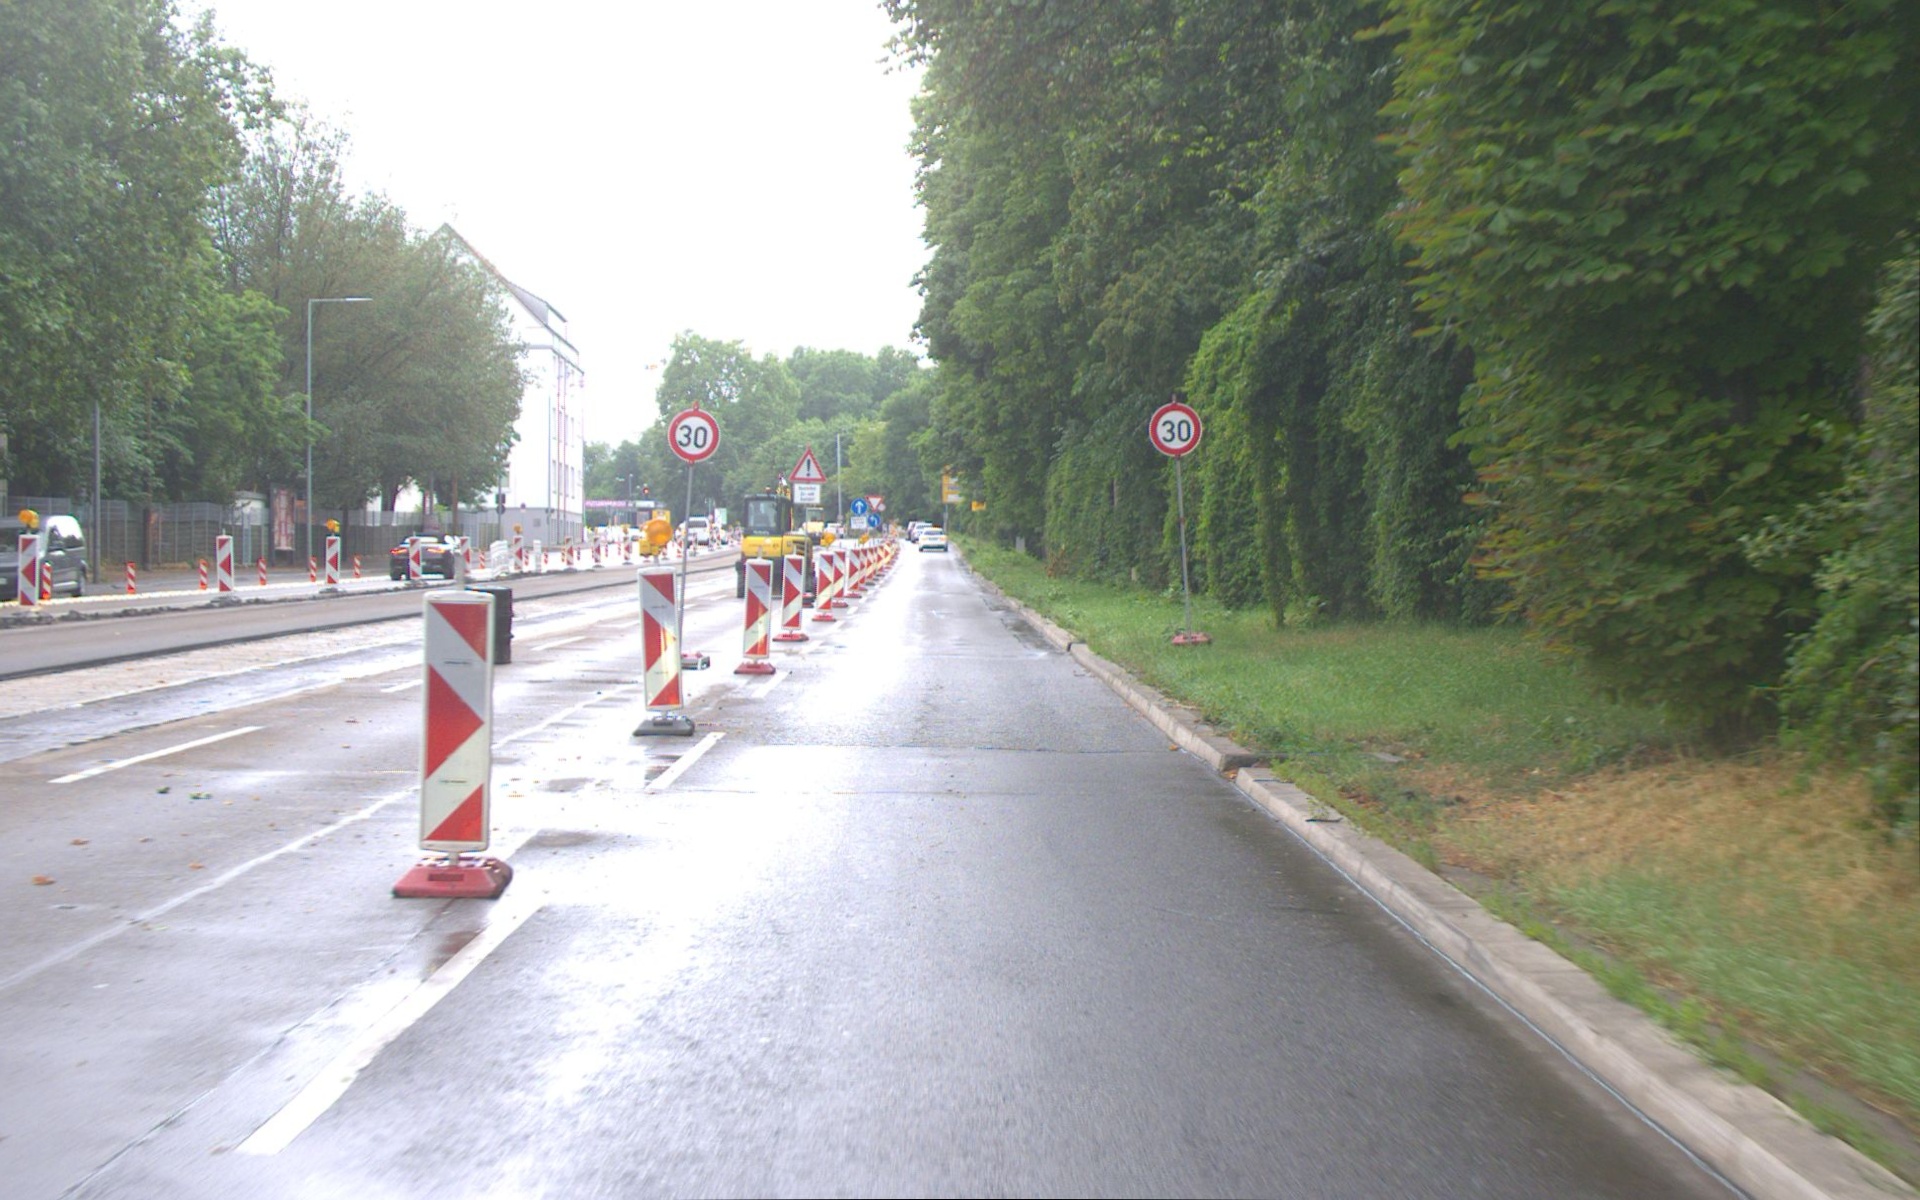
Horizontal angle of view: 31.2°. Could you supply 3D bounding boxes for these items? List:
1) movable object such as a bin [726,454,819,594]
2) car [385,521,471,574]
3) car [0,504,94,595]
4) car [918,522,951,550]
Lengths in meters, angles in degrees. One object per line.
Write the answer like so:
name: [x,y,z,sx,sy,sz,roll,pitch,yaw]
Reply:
movable object such as a bin: [-4.679,-1.892,86.469,1.993,3.356,5.982,1,1,0]
car: [-15.960,-1.583,103.333,1.993,1.514,4.000,1,1,-1]
car: [-19.308,-1.045,69.905,1.993,1.774,4.954,1,1,1]
car: [-1.604,-4.002,215.256,1.993,1.667,4.000,1,1,0]
